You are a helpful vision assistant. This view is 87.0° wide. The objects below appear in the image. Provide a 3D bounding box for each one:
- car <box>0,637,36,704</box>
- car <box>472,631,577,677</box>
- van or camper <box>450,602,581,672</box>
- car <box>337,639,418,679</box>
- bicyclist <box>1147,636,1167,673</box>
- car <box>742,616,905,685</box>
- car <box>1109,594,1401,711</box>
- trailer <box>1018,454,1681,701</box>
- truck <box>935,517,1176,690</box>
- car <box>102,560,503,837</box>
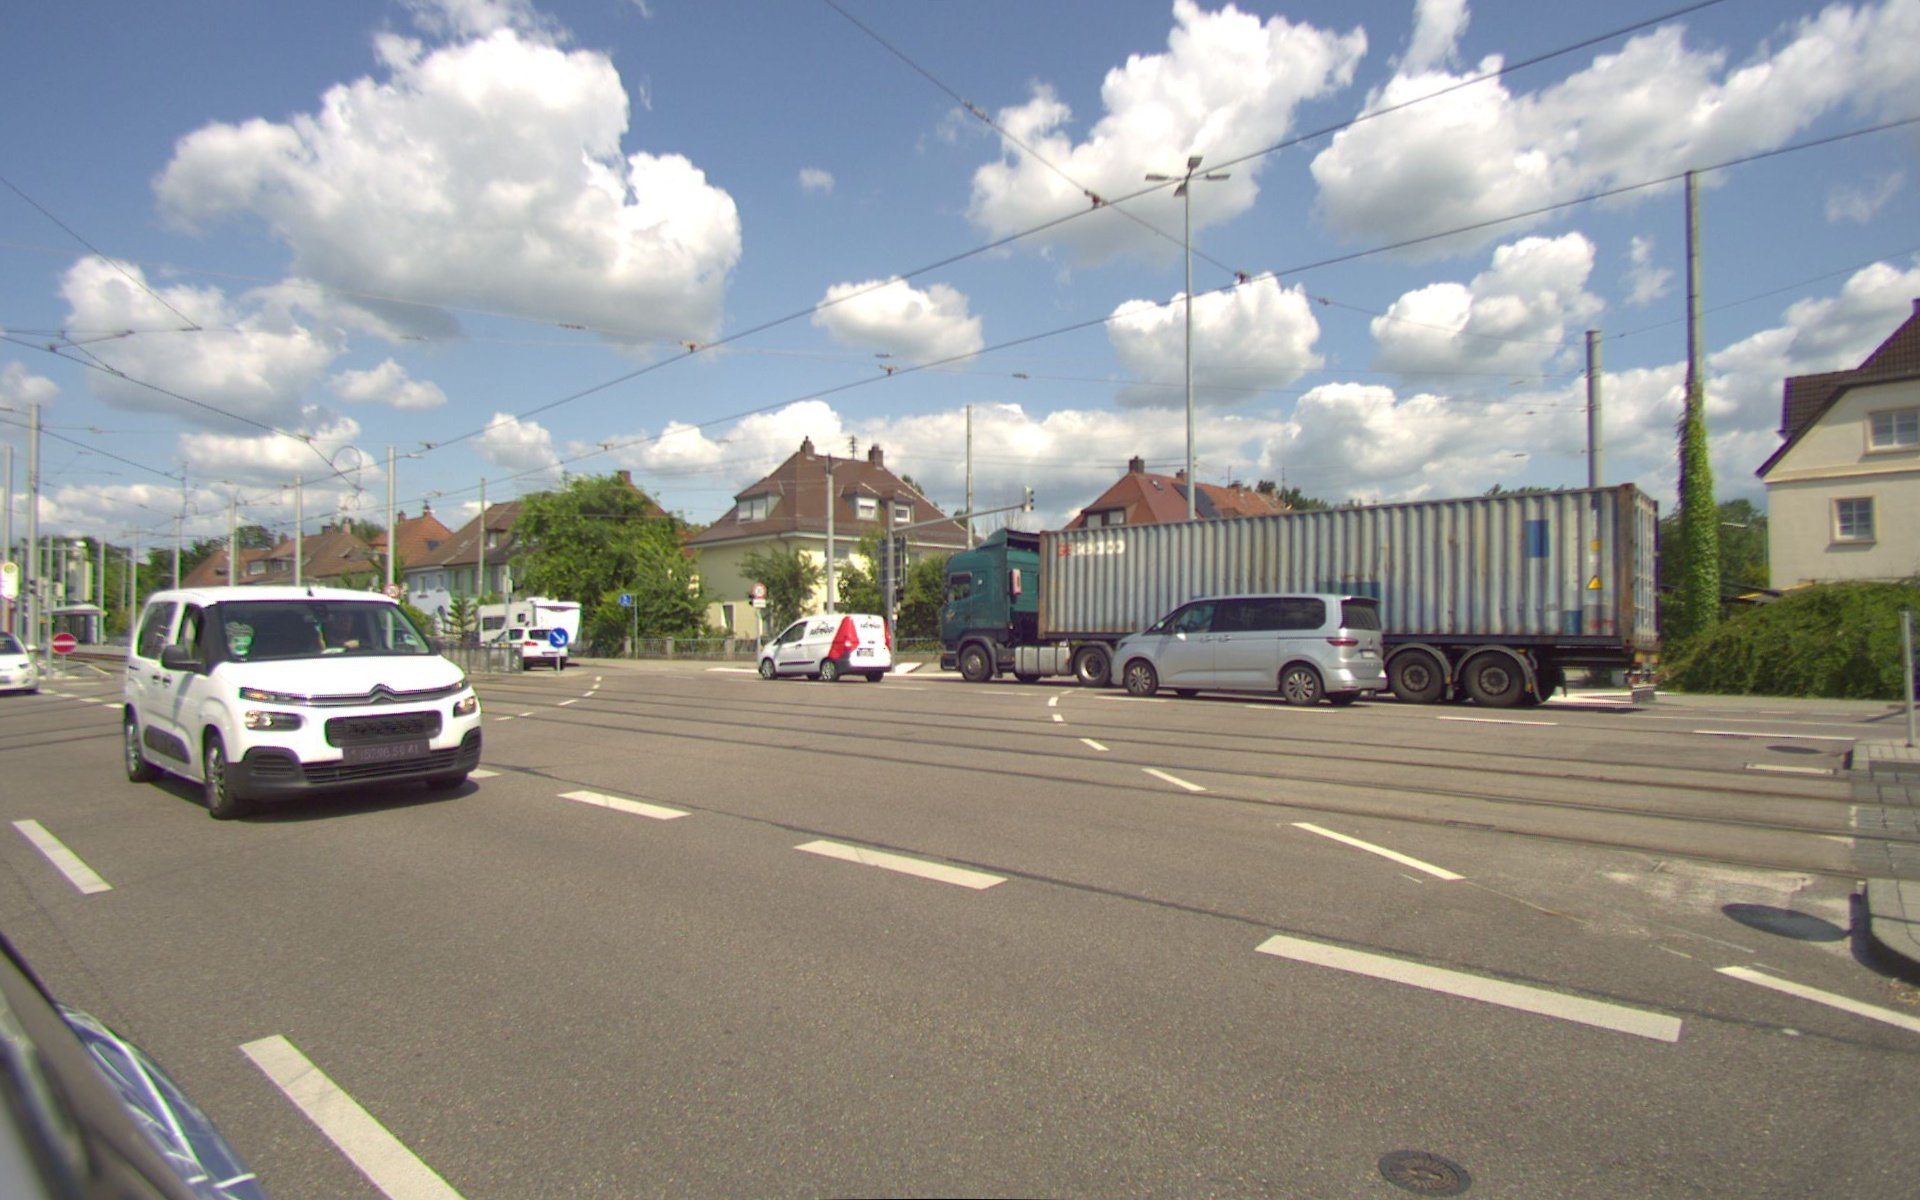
[{"bbox_3d":[-23.816,1.700,24.446,3.389,1.515,1.660,-2,-1,38],"label":"car"},{"bbox_3d":[-16.432,2.019,38.105,4.176,1.564,1.972,-1,-5,42],"label":"car"},{"bbox_3d":[-20.344,1.607,46.101,7.749,2.952,2.300,0,-2,41],"label":"van or camper"},{"bbox_3d":[-27.445,2.754,47.635,4.879,1.790,1.971,-3,-4,44],"label":"car"},{"bbox_3d":[8.378,2.304,43.033,0.602,1.509,0.494,-1,0,43],"label":"bicyclist"},{"bbox_3d":[-3.618,1.263,26.339,4.471,1.649,1.775,-1,-3,43],"label":"car"},{"bbox_3d":[5.126,0.886,18.042,4.710,1.829,1.776,-1,-3,41],"label":"car"},{"bbox_3d":[6.927,-0.042,21.070,12.837,3.851,2.570,-3,-5,43],"label":"trailer"},{"bbox_3d":[2.286,0.247,25.450,5.668,3.851,2.570,-3,-5,44],"label":"truck"},{"bbox_3d":[-5.849,0.702,8.770,4.327,1.829,1.776,-2,-1,41],"label":"car"}]
